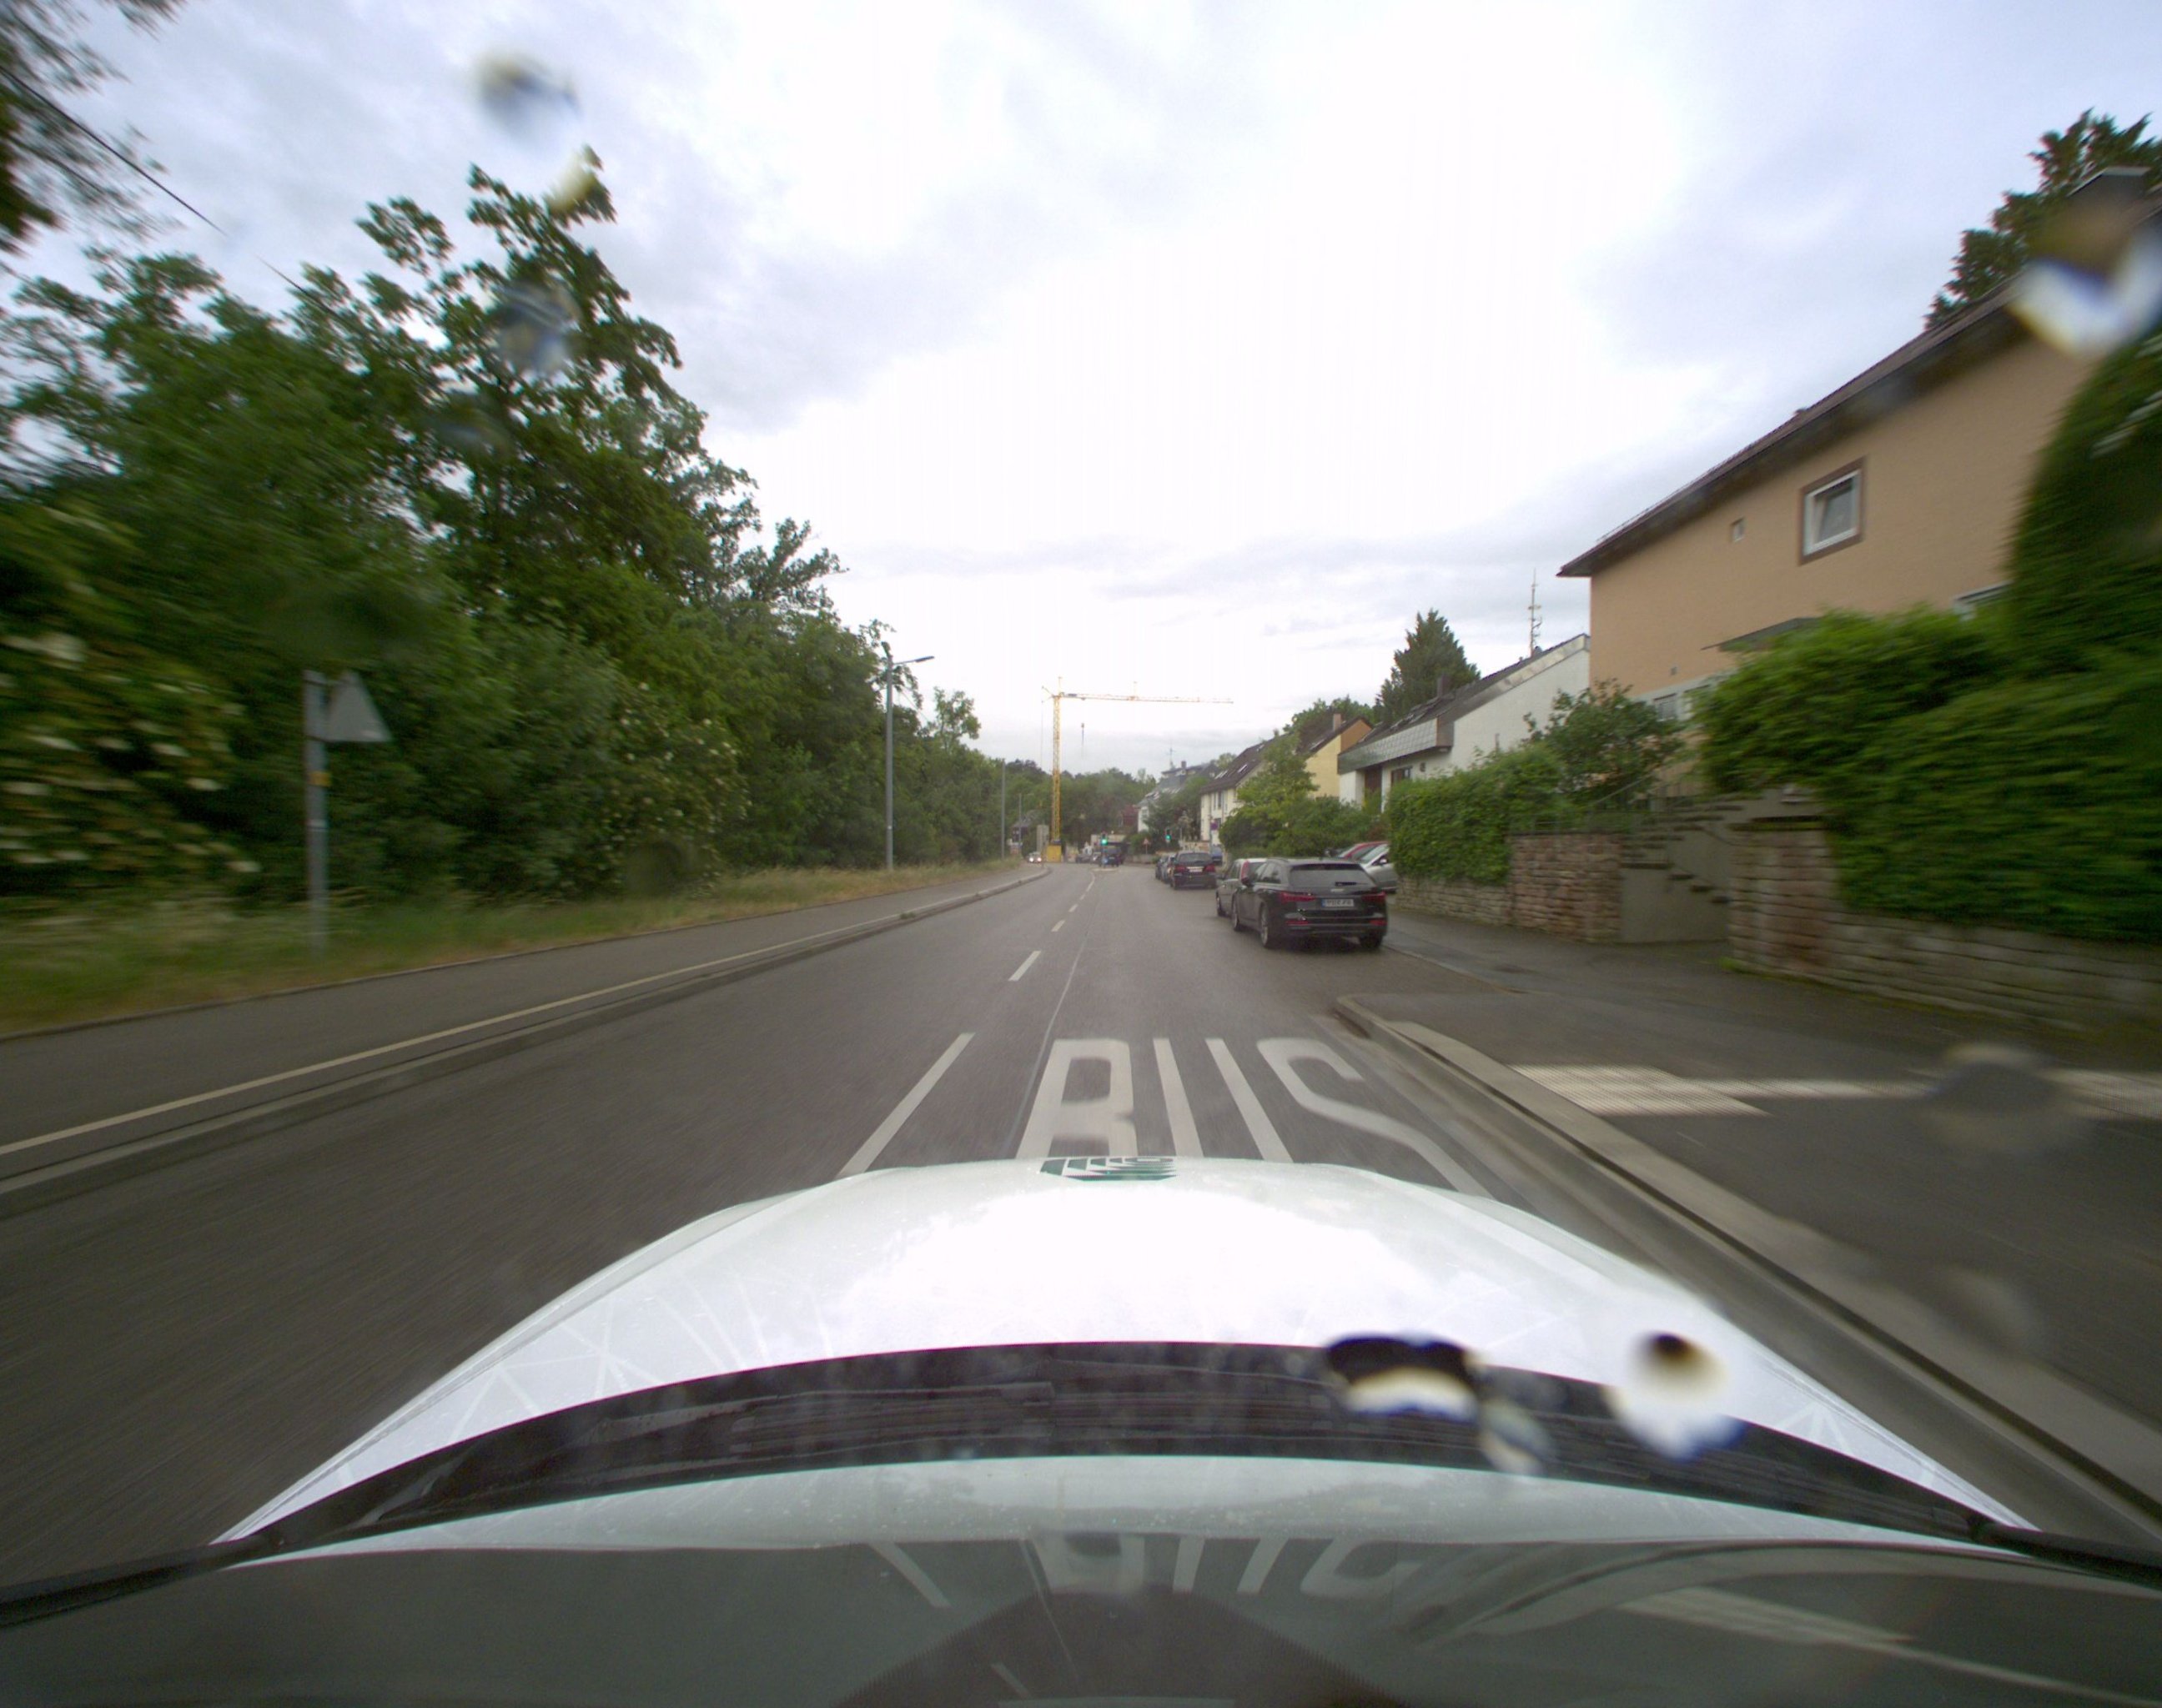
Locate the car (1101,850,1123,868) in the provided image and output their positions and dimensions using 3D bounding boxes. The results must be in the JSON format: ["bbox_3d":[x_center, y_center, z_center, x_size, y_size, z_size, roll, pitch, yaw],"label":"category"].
[{"bbox_3d":[3.230,0.553,85.047,1.927,1.751,3.995,2,-1,-3],"label":"car"}]

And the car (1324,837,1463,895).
[{"bbox_3d":[9.871,0.360,25.932,3.646,1.536,1.828,-4,0,-1],"label":"car"}]

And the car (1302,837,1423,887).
[{"bbox_3d":[9.960,0.276,28.992,3.644,1.566,1.883,-3,0,2],"label":"car"}]

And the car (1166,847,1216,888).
[{"bbox_3d":[4.674,0.528,35.145,1.723,1.568,4.525,-2,0,3],"label":"car"}]

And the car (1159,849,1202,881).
[{"bbox_3d":[5.034,0.568,41.686,1.786,1.487,4.497,-1,-1,2],"label":"car"}]

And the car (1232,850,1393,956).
[{"bbox_3d":[3.861,0.760,14.392,1.821,1.547,4.635,-1,-1,4],"label":"car"}]

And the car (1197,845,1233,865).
[{"bbox_3d":[11.644,0.082,70.933,1.930,1.596,4.331,2,-1,-7],"label":"car"}]

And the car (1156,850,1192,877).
[{"bbox_3d":[5.242,0.556,46.456,1.744,1.443,4.603,-1,-1,3],"label":"car"}]

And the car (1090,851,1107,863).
[{"bbox_3d":[2.266,0.408,105.992,1.672,1.457,3.375,-2,0,-9],"label":"car"}]

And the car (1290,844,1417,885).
[{"bbox_3d":[10.295,0.405,31.051,4.228,1.460,1.883,-1,-1,2],"label":"car"}]

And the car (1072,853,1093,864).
[{"bbox_3d":[0.200,0.629,119.604,1.934,1.422,4.815,1,0,-13],"label":"car"}]

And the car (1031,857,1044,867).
[{"bbox_3d":[-6.632,1.157,123.345,1.738,1.460,4.412,-1,0,-1],"label":"car"}]

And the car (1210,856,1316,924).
[{"bbox_3d":[4.118,0.777,19.043,1.805,1.398,4.107,-1,-1,4],"label":"car"}]

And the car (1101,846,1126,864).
[{"bbox_3d":[3.789,0.140,96.491,1.993,2.013,4.941,-3,0,-9],"label":"car"}]
